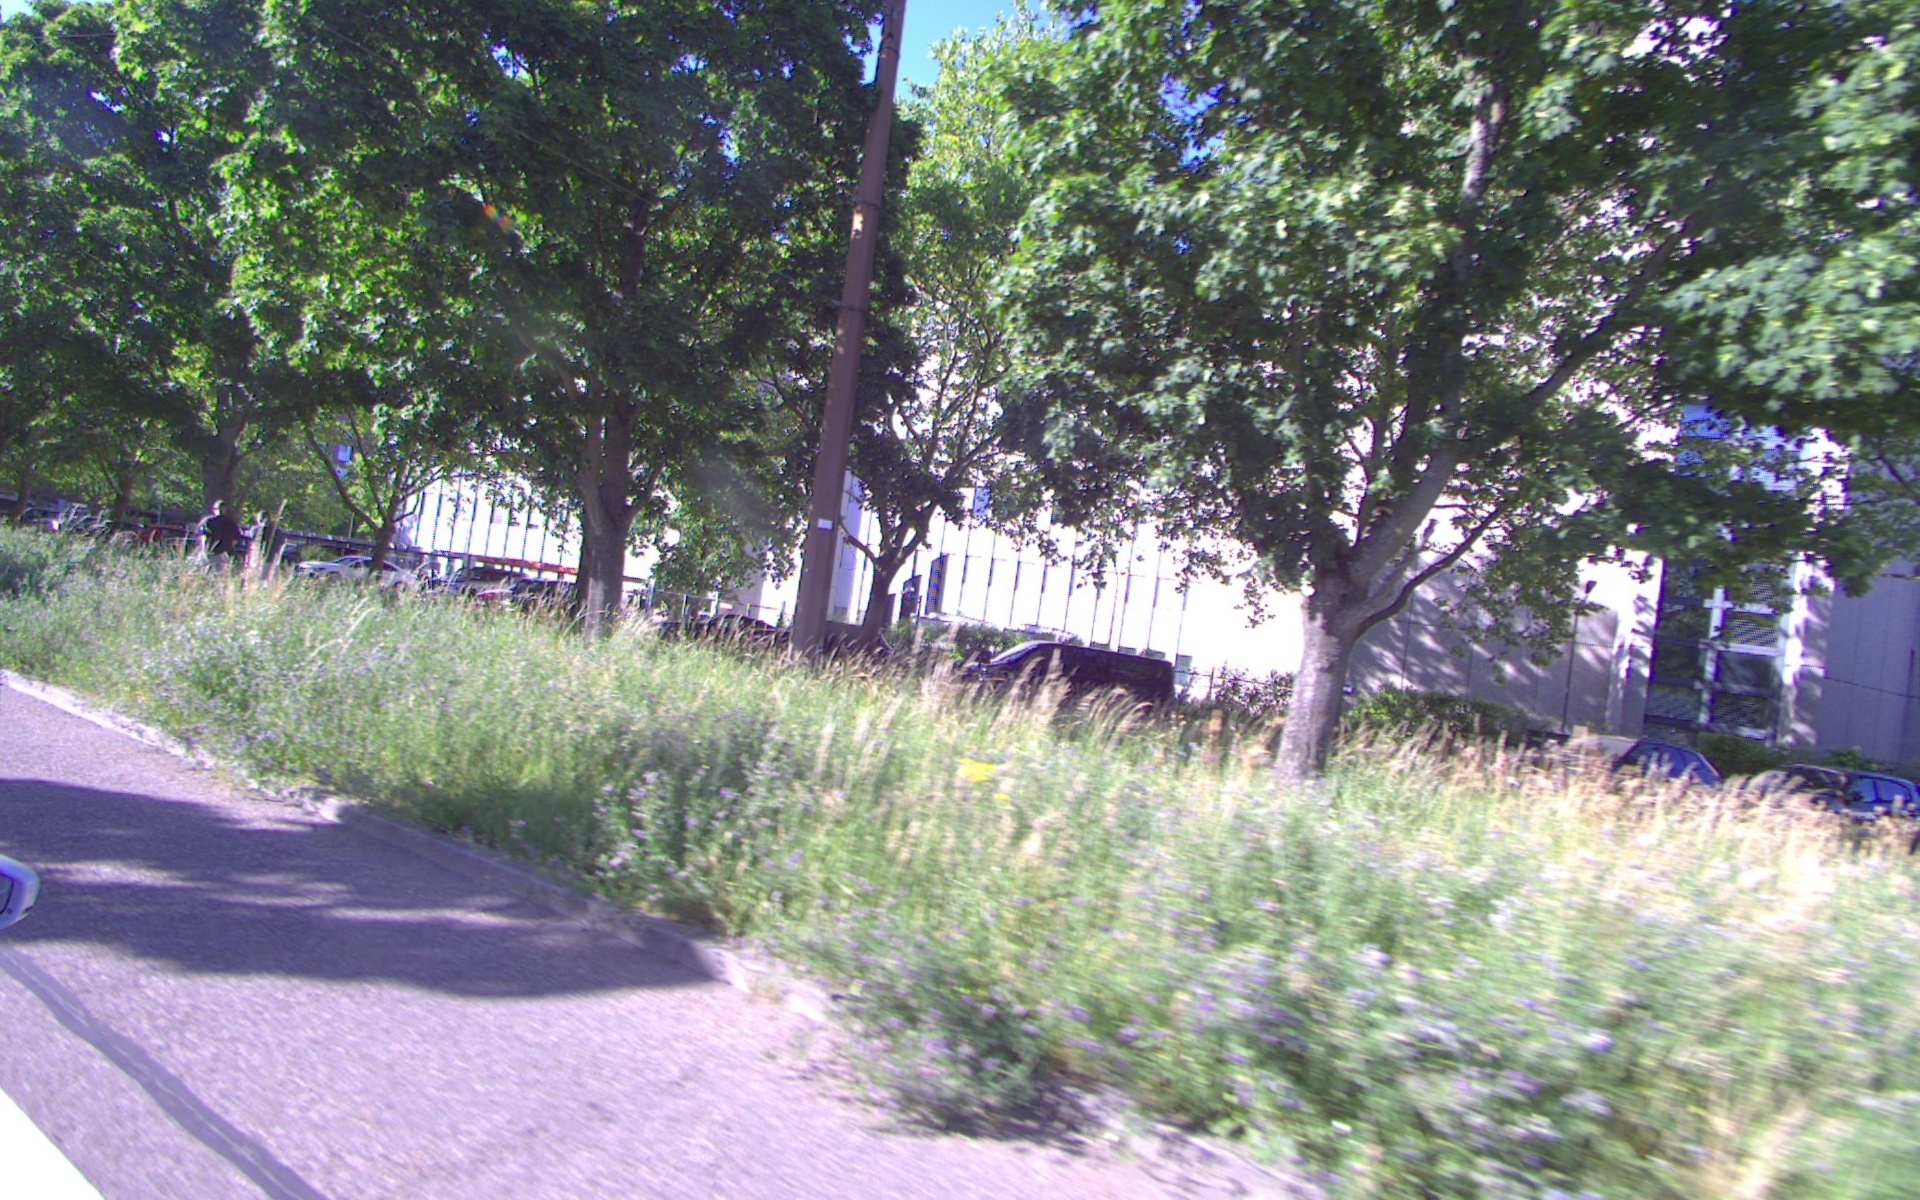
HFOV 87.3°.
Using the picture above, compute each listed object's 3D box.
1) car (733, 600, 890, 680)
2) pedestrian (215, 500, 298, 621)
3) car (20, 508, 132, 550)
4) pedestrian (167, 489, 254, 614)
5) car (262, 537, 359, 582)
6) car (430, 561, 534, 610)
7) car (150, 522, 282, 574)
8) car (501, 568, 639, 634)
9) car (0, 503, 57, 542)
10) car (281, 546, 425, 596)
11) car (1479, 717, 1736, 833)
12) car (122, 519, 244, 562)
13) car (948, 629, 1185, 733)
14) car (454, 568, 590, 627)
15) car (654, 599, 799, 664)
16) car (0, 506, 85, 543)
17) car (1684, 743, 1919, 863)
[{"bbox_3d":[-4.204,1.138,28.600,3.941,1.657,1.714,9,-3,-26],"label":"car"},{"bbox_3d":[-12.187,-0.674,17.434,0.803,1.952,0.709,7,-2,32],"label":"pedestrian"},{"bbox_3d":[-48.221,-3.872,54.974,1.795,1.447,4.174,6,-3,33],"label":"car"},{"bbox_3d":[-12.521,-0.810,16.814,0.803,1.939,0.709,7,-2,32],"label":"pedestrian"},{"bbox_3d":[-41.008,-2.528,63.607,1.925,2.036,4.596,7,-2,32],"label":"car"},{"bbox_3d":[-26.390,-0.761,55.668,1.940,1.972,4.761,7,-2,30],"label":"car"},{"bbox_3d":[-34.295,-2.381,46.517,1.851,1.614,4.406,7,-3,27],"label":"car"},{"bbox_3d":[-13.125,0.086,34.135,1.733,1.720,4.351,7,-2,21],"label":"car"},{"bbox_3d":[-46.750,-3.940,48.746,1.676,1.542,4.007,7,-2,27],"label":"car"},{"bbox_3d":[-24.632,-1.150,41.047,1.776,1.286,4.710,8,-1,28],"label":"car"},{"bbox_3d":[12.245,3.312,19.003,4.494,1.532,1.838,9,-3,-24],"label":"car"},{"bbox_3d":[-38.224,-2.894,49.599,1.909,1.339,4.298,8,-1,35],"label":"car"},{"bbox_3d":[2.602,1.984,24.967,5.370,1.771,1.916,9,-2,-12],"label":"car"},{"bbox_3d":[-15.129,-0.046,35.043,1.733,1.553,4.246,7,-2,21],"label":"car"},{"bbox_3d":[-7.055,0.957,30.359,3.936,1.356,1.701,9,-3,-22],"label":"car"},{"bbox_3d":[-53.530,-4.439,57.955,1.661,1.475,4.364,7,-3,33],"label":"car"},{"bbox_3d":[14.902,3.534,17.346,4.494,1.464,1.838,9,-3,-24],"label":"car"}]
